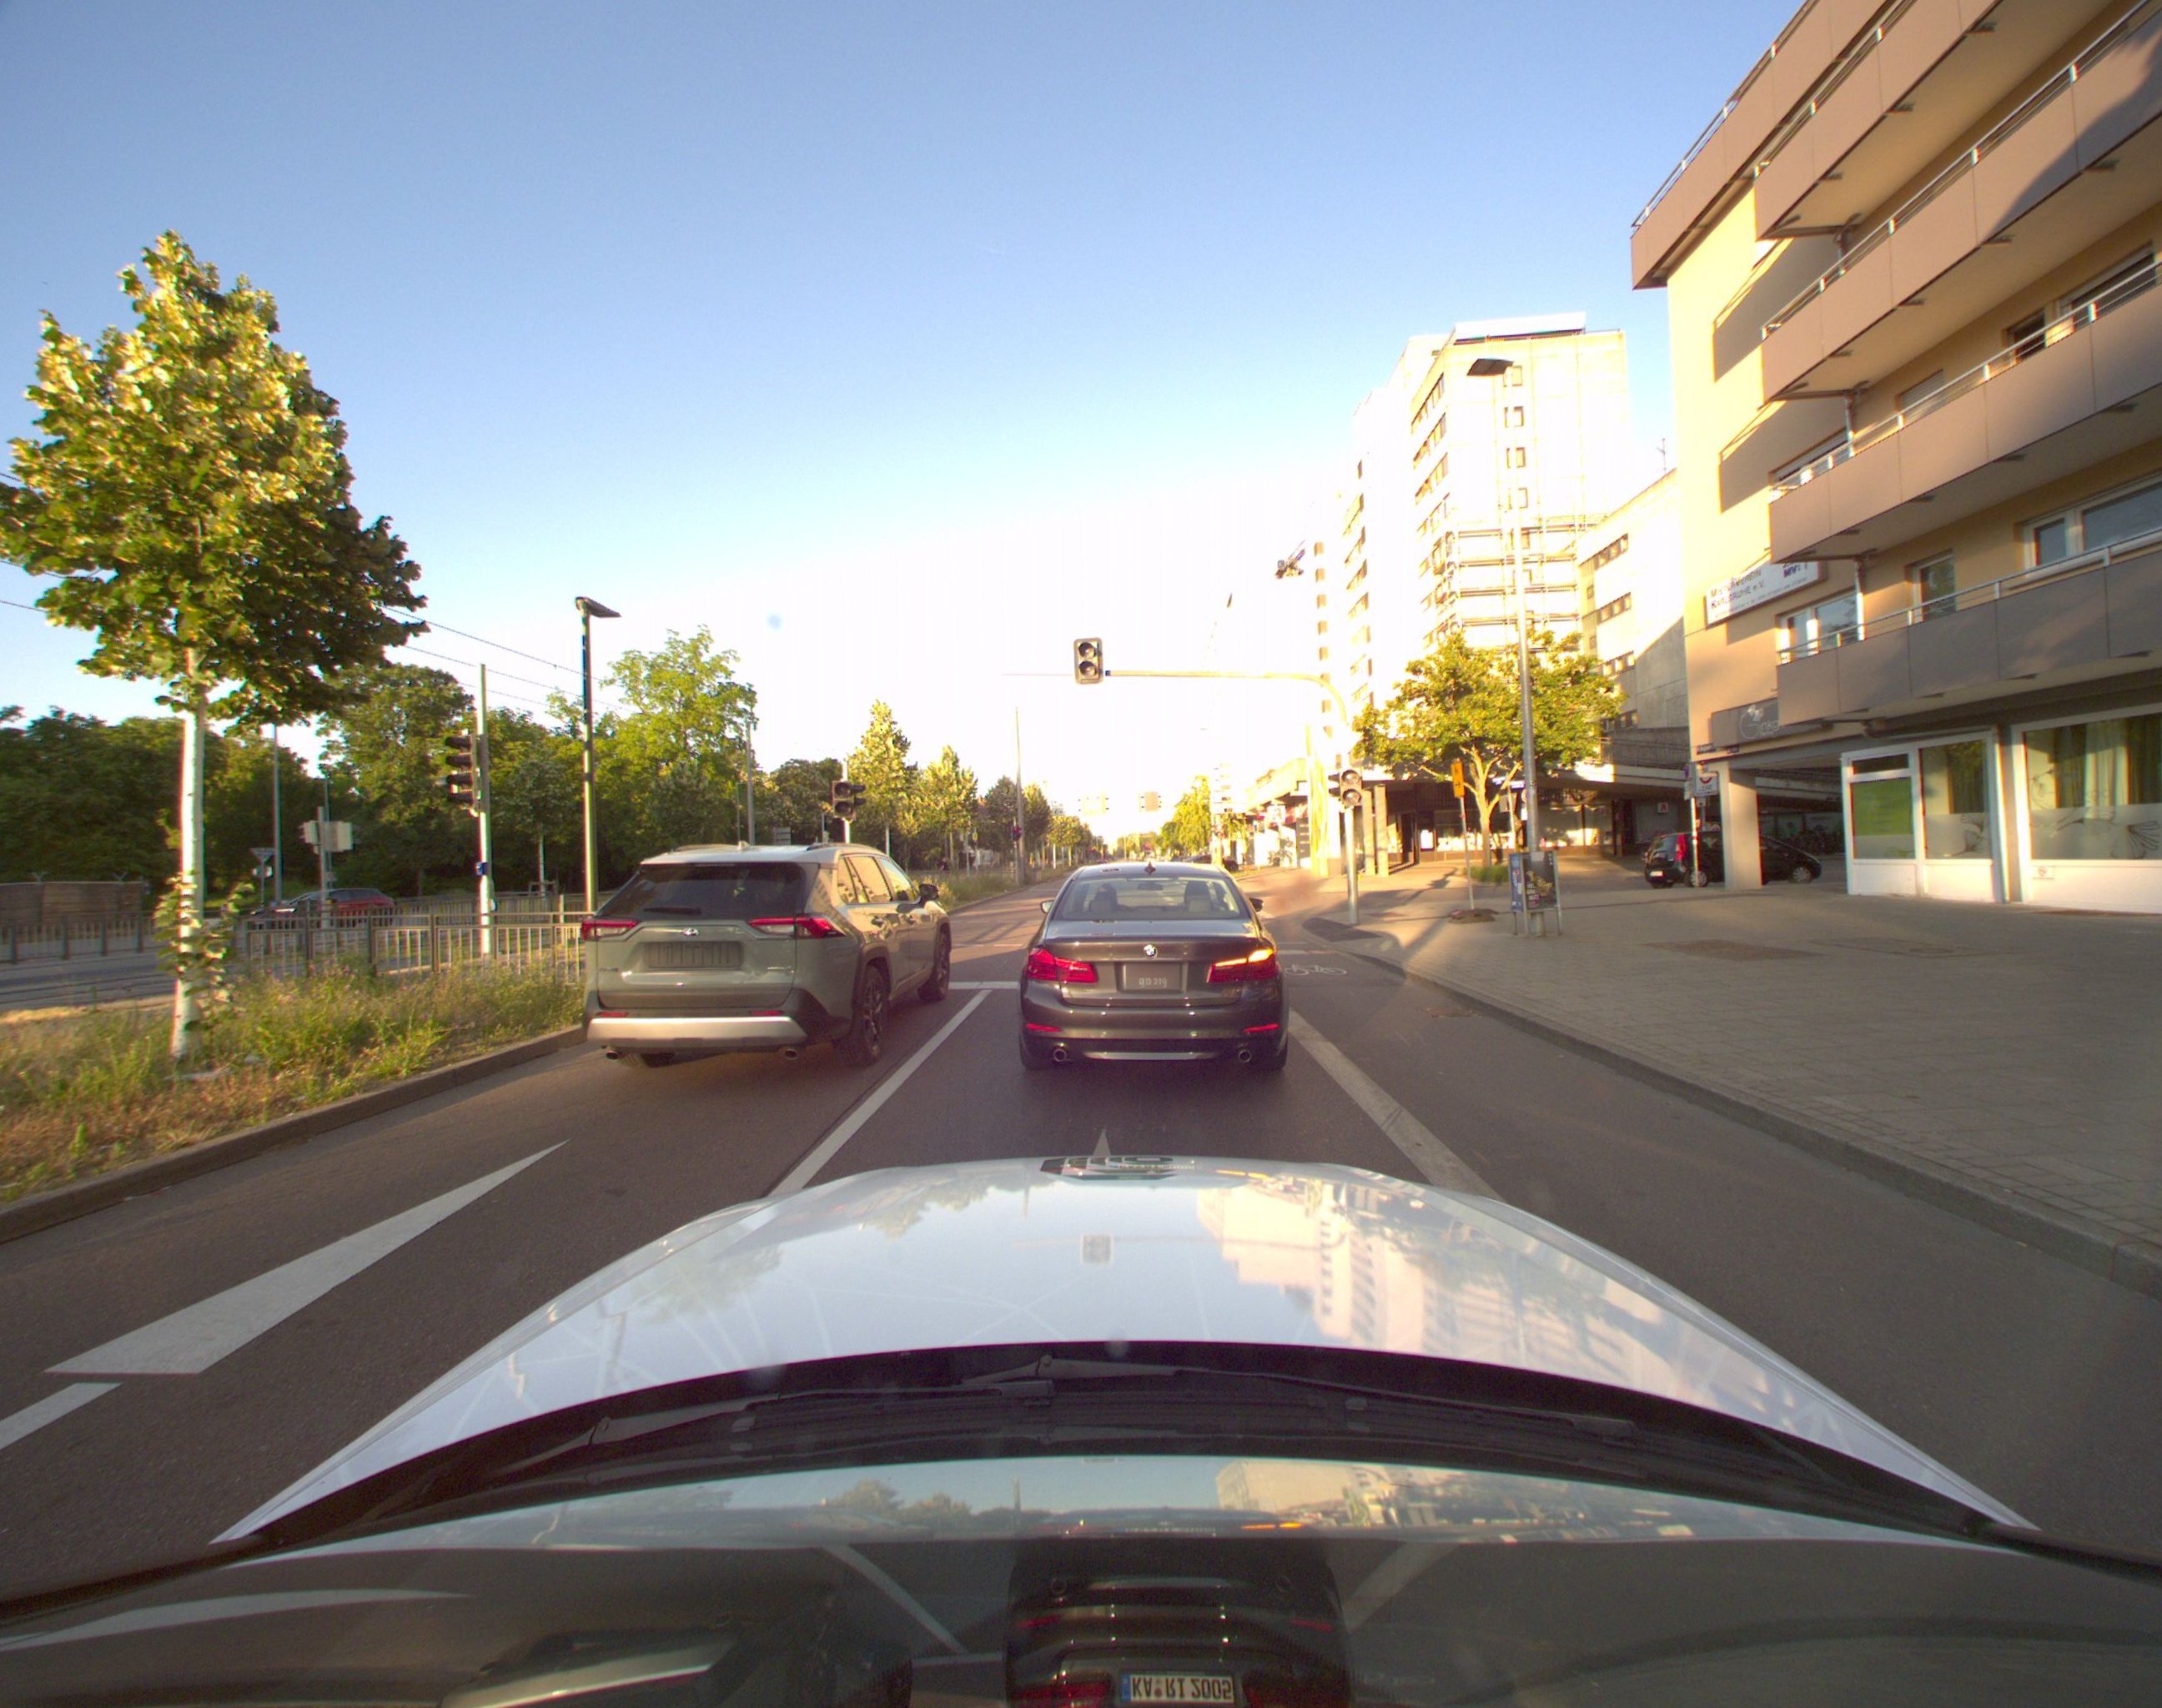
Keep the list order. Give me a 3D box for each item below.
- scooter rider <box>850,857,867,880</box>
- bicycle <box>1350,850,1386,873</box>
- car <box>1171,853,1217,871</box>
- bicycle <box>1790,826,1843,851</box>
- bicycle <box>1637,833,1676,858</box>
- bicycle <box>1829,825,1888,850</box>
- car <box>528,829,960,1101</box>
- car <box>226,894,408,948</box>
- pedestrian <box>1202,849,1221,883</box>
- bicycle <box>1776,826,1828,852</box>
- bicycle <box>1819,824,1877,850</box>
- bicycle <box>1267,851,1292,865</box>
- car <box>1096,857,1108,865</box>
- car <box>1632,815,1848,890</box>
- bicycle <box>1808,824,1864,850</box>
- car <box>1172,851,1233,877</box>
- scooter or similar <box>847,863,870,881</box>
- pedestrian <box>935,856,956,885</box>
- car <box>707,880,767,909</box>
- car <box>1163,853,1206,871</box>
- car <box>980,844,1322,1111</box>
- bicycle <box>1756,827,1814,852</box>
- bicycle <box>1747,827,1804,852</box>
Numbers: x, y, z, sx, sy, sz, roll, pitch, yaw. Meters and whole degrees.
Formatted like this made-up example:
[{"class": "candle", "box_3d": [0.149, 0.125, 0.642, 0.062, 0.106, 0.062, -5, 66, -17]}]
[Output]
[{"class": "scooter rider", "box_3d": [-14.873, 0.951, 54.468, 0.816, 1.514, 0.654, -3, -1, 5]}, {"class": "bicycle", "box_3d": [14.473, 0.376, 41.142, 0.690, 1.149, 2.012, 1, -1, -16]}, {"class": "car", "box_3d": [10.914, 0.765, 78.805, 4.285, 1.658, 1.841, -2, 1, -34]}, {"class": "bicycle", "box_3d": [33.448, -0.701, 37.079, 0.579, 1.075, 1.976, 1, -1, -1]}, {"class": "bicycle", "box_3d": [26.973, -0.390, 38.224, 0.578, 1.075, 1.980, 1, -1, 5]}, {"class": "bicycle", "box_3d": [35.279, -0.729, 36.980, 0.580, 1.075, 1.971, 1, -1, -9]}, {"class": "car", "box_3d": [-2.407, 0.658, 7.176, 1.847, 1.658, 4.271, -1, 1, 2]}, {"class": "car", "box_3d": [-27.348, 2.355, 29.401, 1.983, 1.481, 4.531, -1, 1, 6]}, {"class": "pedestrian", "box_3d": [6.750, 0.637, 42.058, 0.832, 1.712, 0.648, -2, -1, 1]}, {"class": "bicycle", "box_3d": [32.888, -0.666, 37.177, 0.579, 1.075, 1.976, 1, -1, -1]}, {"class": "bicycle", "box_3d": [34.651, -0.751, 36.824, 0.580, 1.075, 1.971, 1, -1, -9]}, {"class": "bicycle", "box_3d": [16.756, 0.378, 68.735, 2.005, 1.149, 0.692, 0, -1, 8]}, {"class": "car", "box_3d": [3.847, 1.251, 147.075, 1.971, 1.433, 4.846, -1, 1, 2]}, {"class": "car", "box_3d": [17.168, 0.003, 21.383, 4.020, 1.585, 1.708, -4, -4, 6]}, {"class": "bicycle", "box_3d": [34.037, -0.751, 36.755, 0.579, 1.075, 1.974, 1, -1, -4]}, {"class": "car", "box_3d": [8.479, 0.642, 56.678, 4.291, 1.658, 1.839, -2, 1, -40]}, {"class": "scooter or similar", "box_3d": [-14.858, 1.213, 54.435, 1.323, 1.153, 0.514, -3, -1, 5]}, {"class": "pedestrian", "box_3d": [-7.694, 0.937, 46.325, 0.829, 1.586, 0.815, -3, -1, 13]}, {"class": "car", "box_3d": [-20.752, 2.400, 49.262, 1.792, 1.481, 3.786, -2, 0, 3]}, {"class": "car", "box_3d": [10.801, 0.821, 85.071, 4.284, 1.658, 1.841, -2, 1, -33]}, {"class": "car", "box_3d": [0.514, 0.682, 6.907, 1.924, 1.481, 4.526, -1, 1, 3]}, {"class": "bicycle", "box_3d": [32.291, -0.651, 37.394, 0.583, 1.075, 1.963, 1, -1, -21]}, {"class": "bicycle", "box_3d": [31.814, -0.634, 37.337, 0.582, 1.075, 1.966, 1, -1, -17]}]
